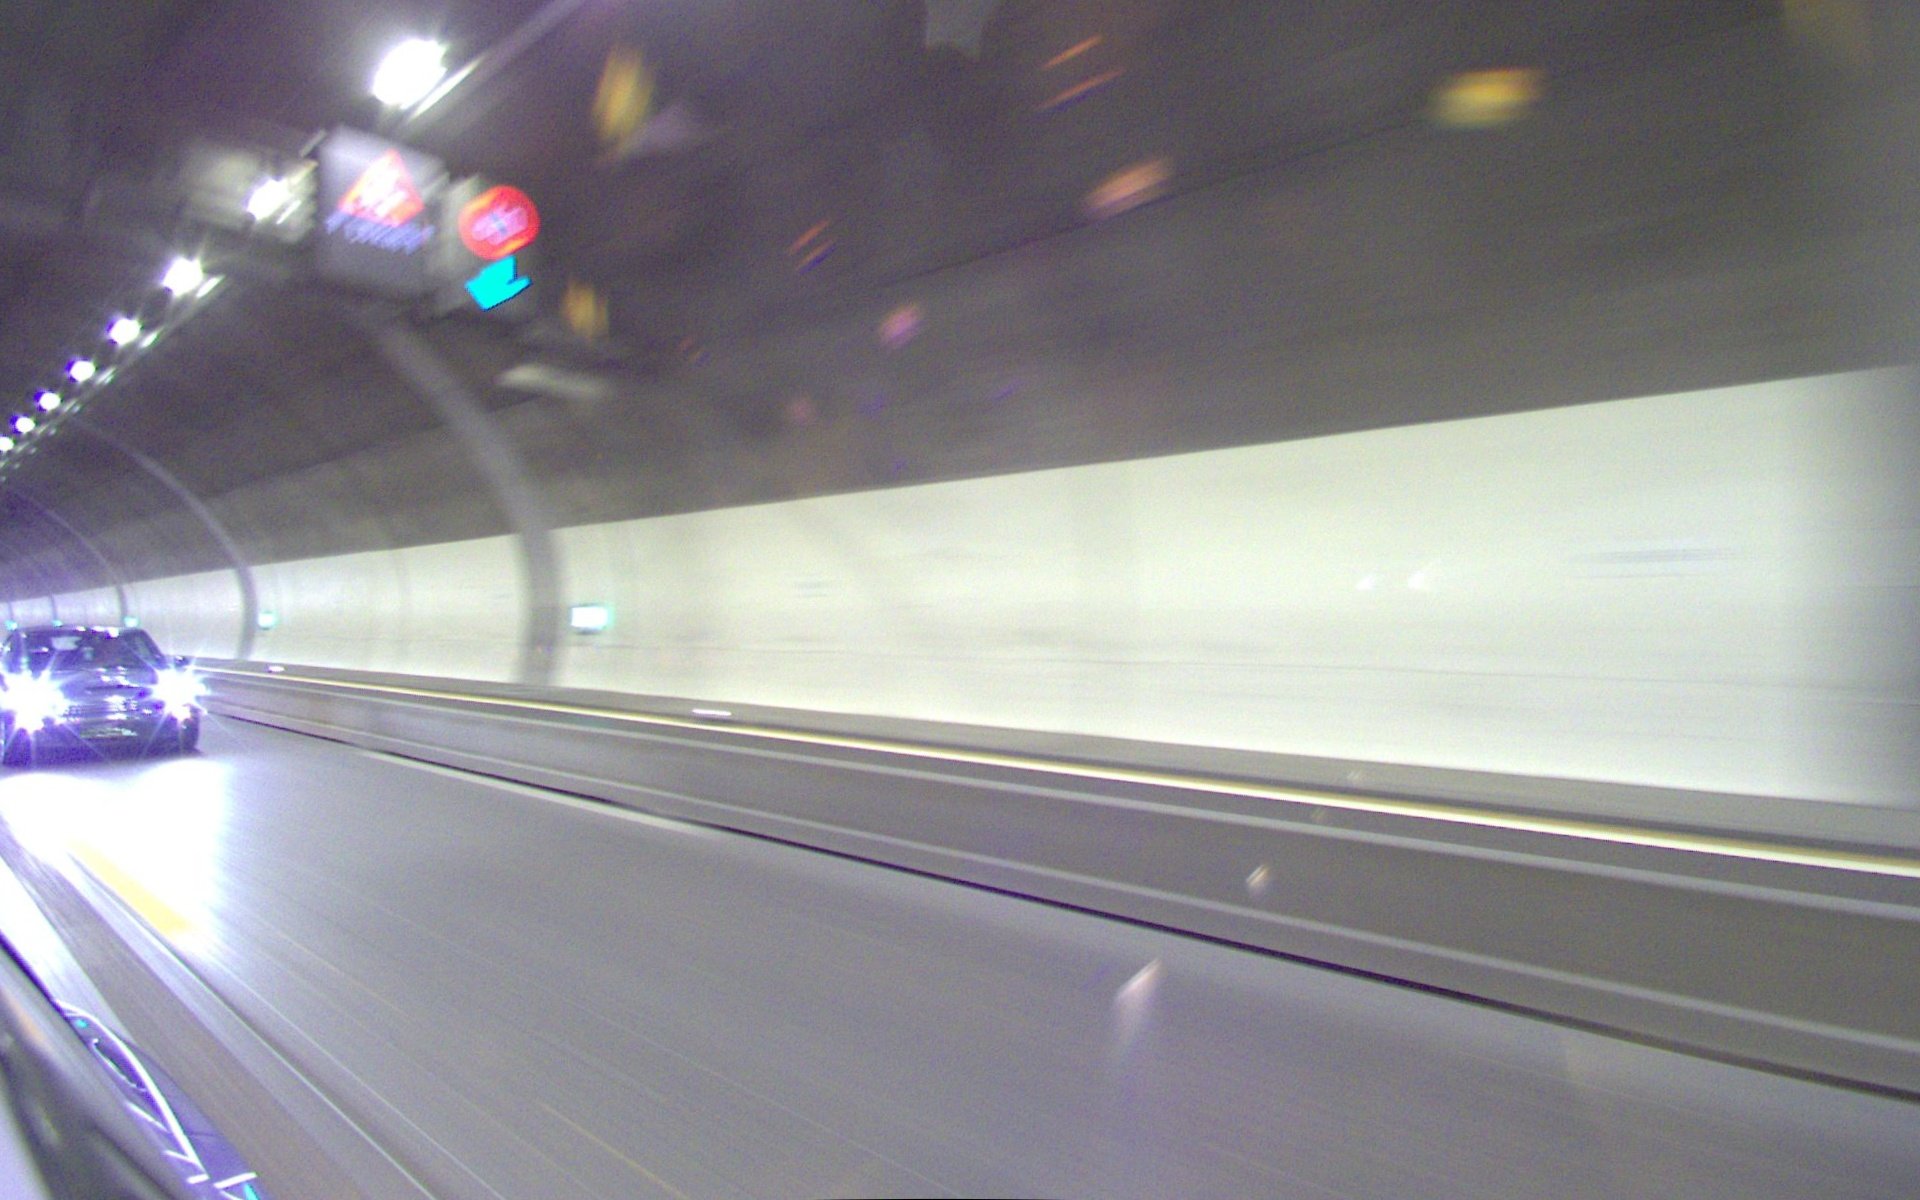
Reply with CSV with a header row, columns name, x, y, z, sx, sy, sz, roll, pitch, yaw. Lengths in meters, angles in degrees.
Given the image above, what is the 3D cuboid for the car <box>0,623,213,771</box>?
name,x,y,z,sx,sy,sz,roll,pitch,yaw
car,-10.020,0.970,11.567,3.655,1.414,1.635,-1,-2,41
